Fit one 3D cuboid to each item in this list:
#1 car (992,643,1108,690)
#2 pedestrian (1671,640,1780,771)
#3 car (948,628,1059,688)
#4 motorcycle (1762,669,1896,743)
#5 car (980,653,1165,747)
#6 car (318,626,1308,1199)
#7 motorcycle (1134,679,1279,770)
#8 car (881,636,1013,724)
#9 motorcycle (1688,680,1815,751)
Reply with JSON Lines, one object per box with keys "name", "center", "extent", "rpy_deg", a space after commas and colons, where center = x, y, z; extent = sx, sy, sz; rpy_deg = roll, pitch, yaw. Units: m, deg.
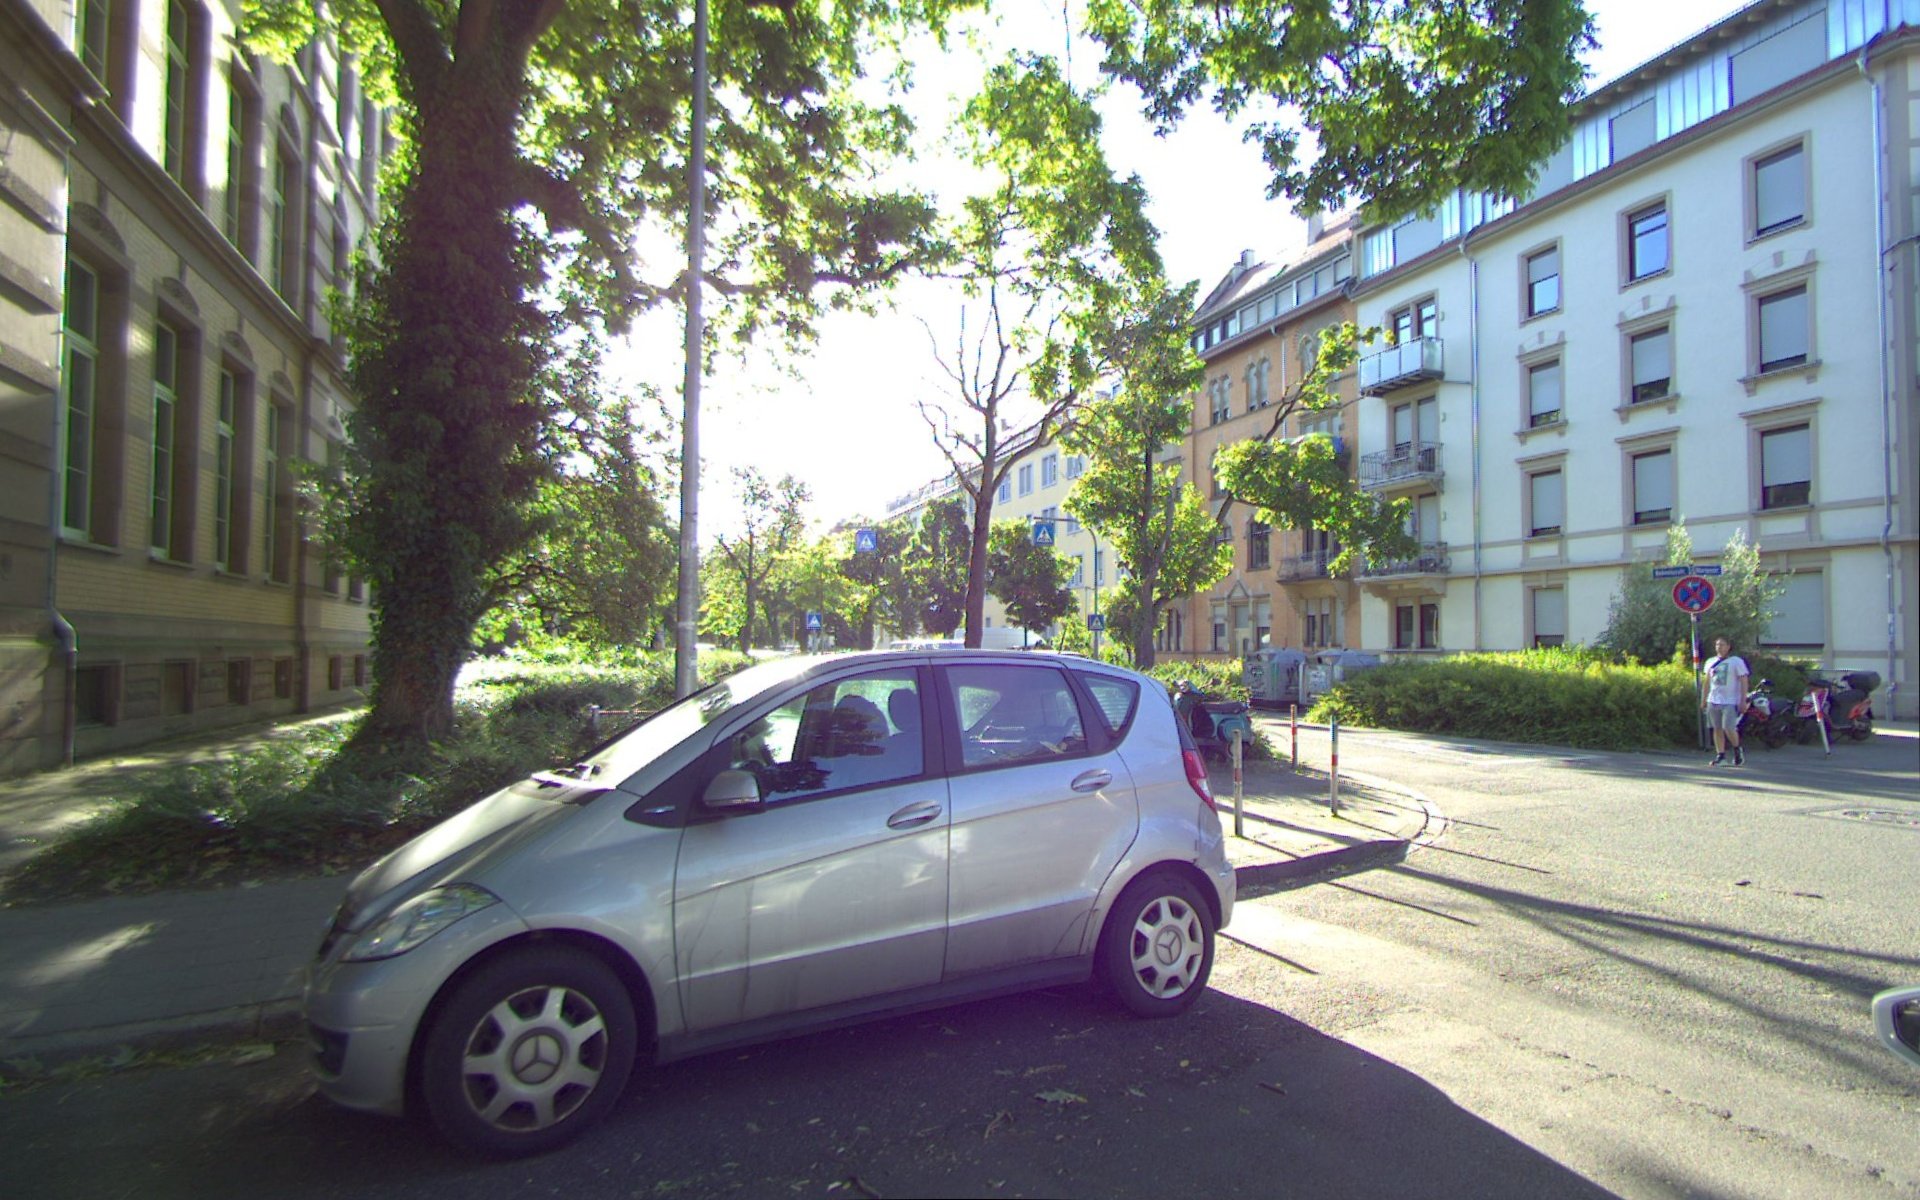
{"name": "car", "center": [4.057, 3.000, 45.286], "extent": [4.834, 2.040, 1.992], "rpy_deg": [1, -3, -20]}
{"name": "pedestrian", "center": [10.792, 1.463, 14.171], "extent": [0.992, 1.768, 0.801], "rpy_deg": [1, -3, -23]}
{"name": "car", "center": [2.057, 2.763, 47.688], "extent": [4.838, 2.740, 2.126], "rpy_deg": [1, -3, -22]}
{"name": "motorcycle", "center": [14.928, 1.820, 17.266], "extent": [2.007, 1.212, 0.612], "rpy_deg": [2, -3, -10]}
{"name": "car", "center": [2.032, 1.827, 19.447], "extent": [1.857, 1.595, 4.125], "rpy_deg": [1, -3, -22]}
{"name": "car", "center": [-0.481, 1.016, 4.511], "extent": [3.906, 1.578, 1.699], "rpy_deg": [2, -7, -30]}
{"name": "motorcycle", "center": [3.232, 1.605, 13.166], "extent": [1.867, 1.116, 0.542], "rpy_deg": [1, -3, -21]}
{"name": "car", "center": [-0.462, 2.048, 26.417], "extent": [1.970, 2.040, 4.628], "rpy_deg": [-1, -3, -21]}
{"name": "motorcycle", "center": [12.886, 1.871, 16.357], "extent": [1.839, 1.104, 0.639], "rpy_deg": [2, -3, -15]}
